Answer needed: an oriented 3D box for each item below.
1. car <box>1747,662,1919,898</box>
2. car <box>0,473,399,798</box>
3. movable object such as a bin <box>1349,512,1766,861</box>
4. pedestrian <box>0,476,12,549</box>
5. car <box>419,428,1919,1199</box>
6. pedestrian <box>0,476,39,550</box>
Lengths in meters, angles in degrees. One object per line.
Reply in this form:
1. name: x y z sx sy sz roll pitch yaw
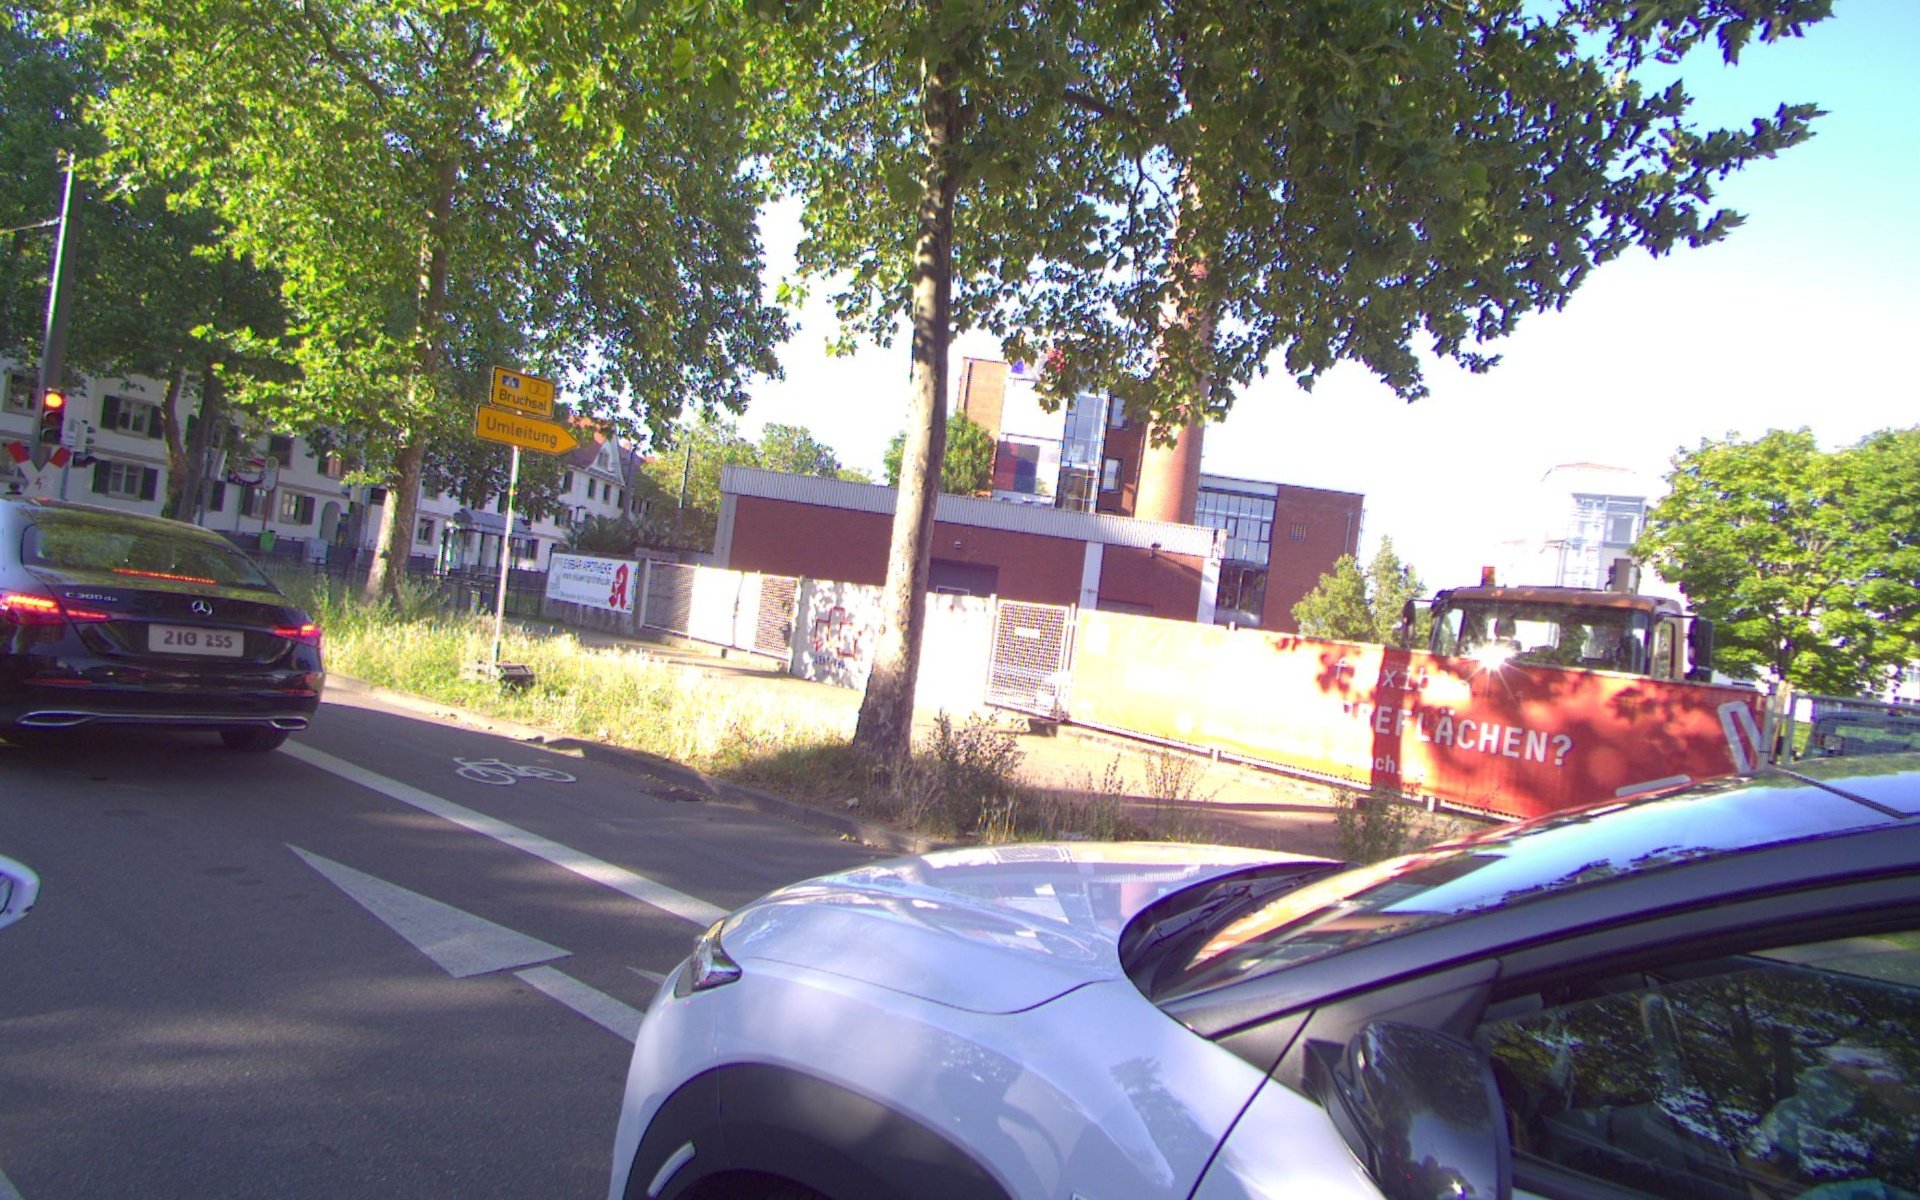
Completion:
1. car: 9.580 1.826 10.150 2.016 1.849 4.583 6 -3 44
2. car: -5.949 0.017 6.718 4.308 1.508 1.893 9 -1 32
3. movable object such as a bin: 7.651 1.036 12.407 3.172 3.084 6.266 6 -2 41
4. pedestrian: -26.112 -2.394 26.912 0.825 1.940 0.707 7 -1 28
5. car: 1.284 0.871 1.388 3.901 1.616 1.893 9 -1 33
6. pedestrian: -26.515 -2.430 28.132 0.825 1.940 0.707 7 -1 28
